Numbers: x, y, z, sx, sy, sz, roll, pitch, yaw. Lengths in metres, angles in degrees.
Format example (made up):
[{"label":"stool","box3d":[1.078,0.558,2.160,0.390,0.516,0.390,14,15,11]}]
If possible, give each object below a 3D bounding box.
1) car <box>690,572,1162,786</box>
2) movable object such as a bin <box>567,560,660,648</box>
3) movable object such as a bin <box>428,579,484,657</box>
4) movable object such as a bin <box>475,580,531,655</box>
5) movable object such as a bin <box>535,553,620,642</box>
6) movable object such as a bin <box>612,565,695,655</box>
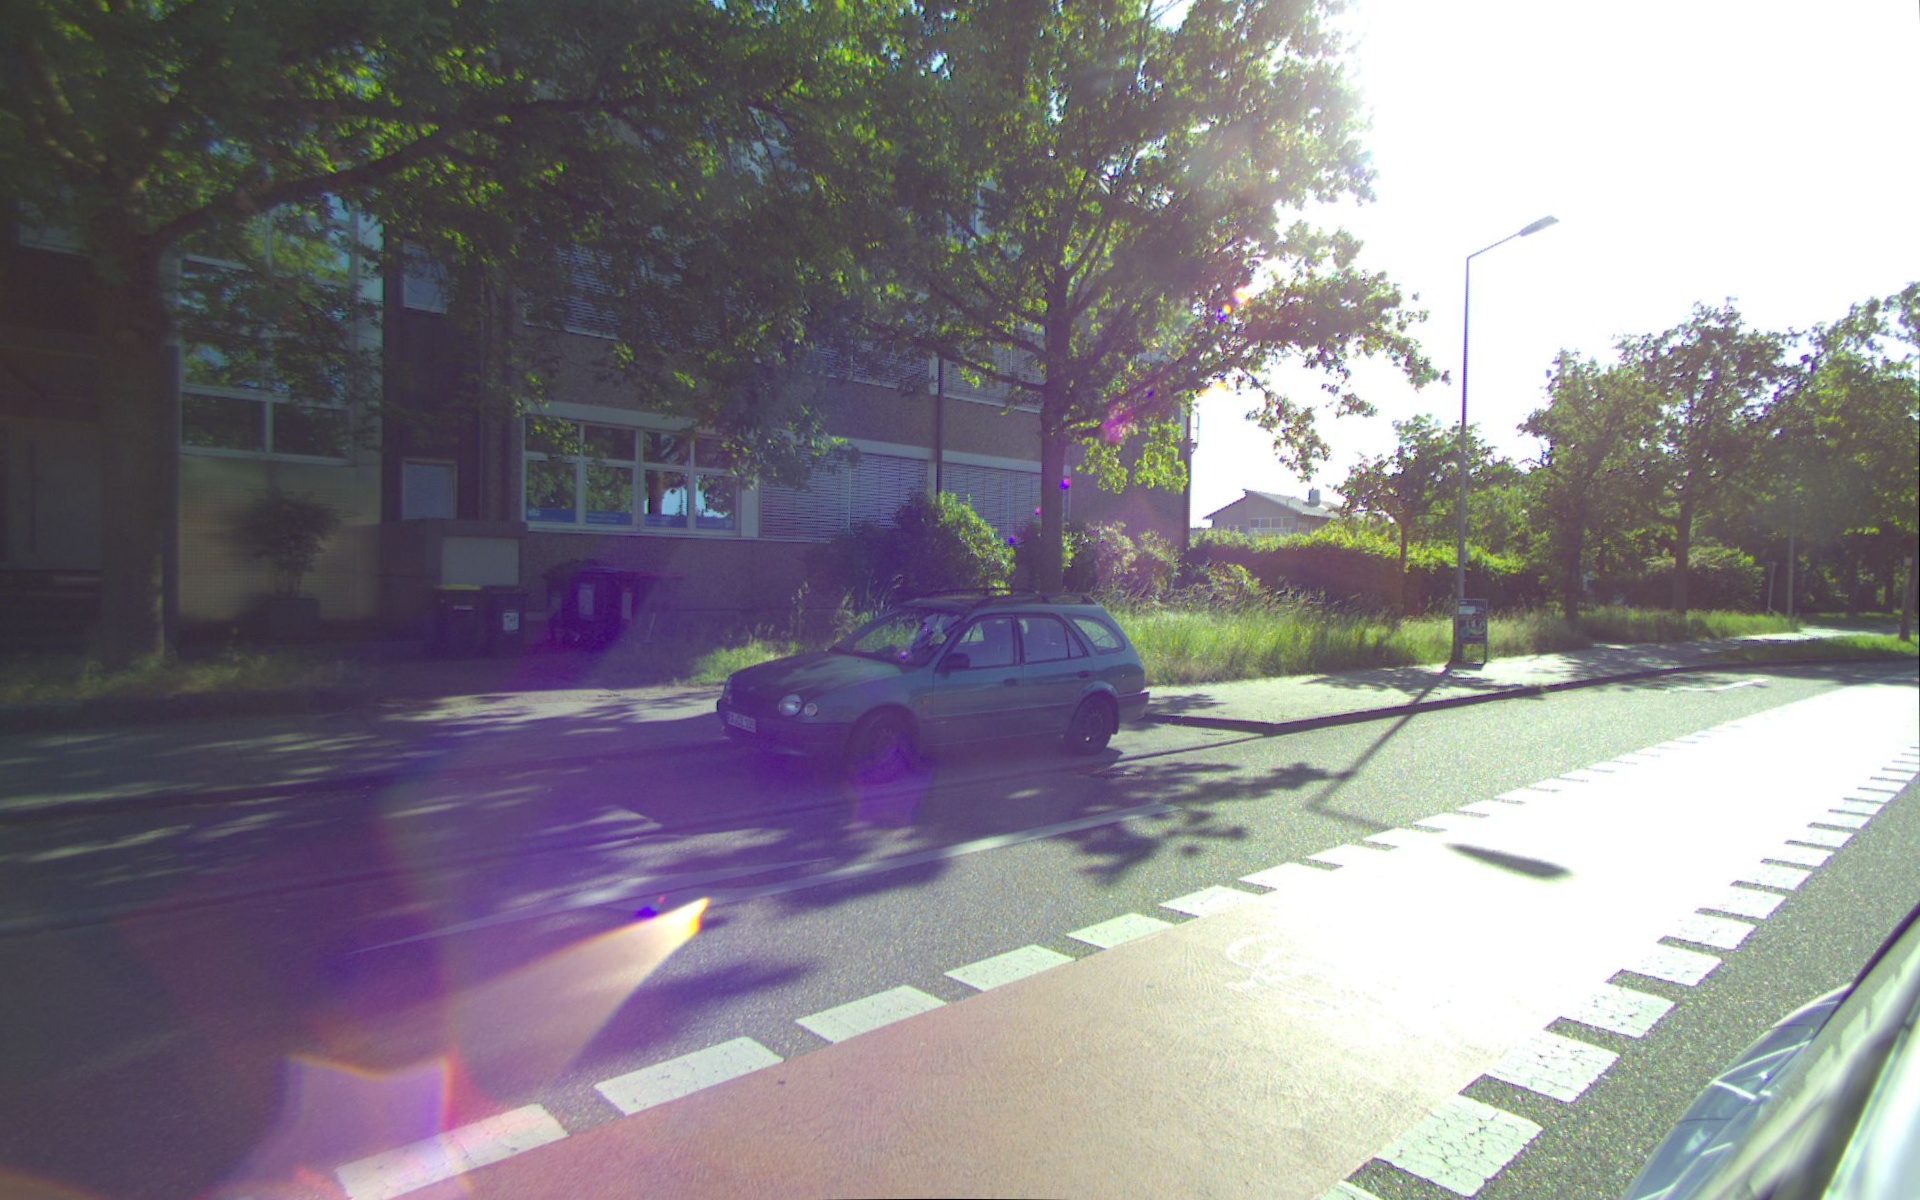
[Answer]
[{"label":"car","box3d":[-0.147,0.574,9.122,4.068,1.487,1.705,1,1,-41]},{"label":"movable object such as a bin","box3d":[-5.773,0.044,16.851,1.070,1.388,1.186,0,2,-43]},{"label":"movable object such as a bin","box3d":[-7.216,0.247,14.487,0.575,1.070,0.625,0,1,-42]},{"label":"movable object such as a bin","box3d":[-6.761,0.242,14.968,0.604,1.075,0.634,0,1,-42]},{"label":"movable object such as a bin","box3d":[-6.782,-0.072,17.931,1.024,1.501,1.309,0,2,-41]},{"label":"movable object such as a bin","box3d":[-4.783,0.126,15.763,0.878,1.323,1.186,0,2,-37]}]
